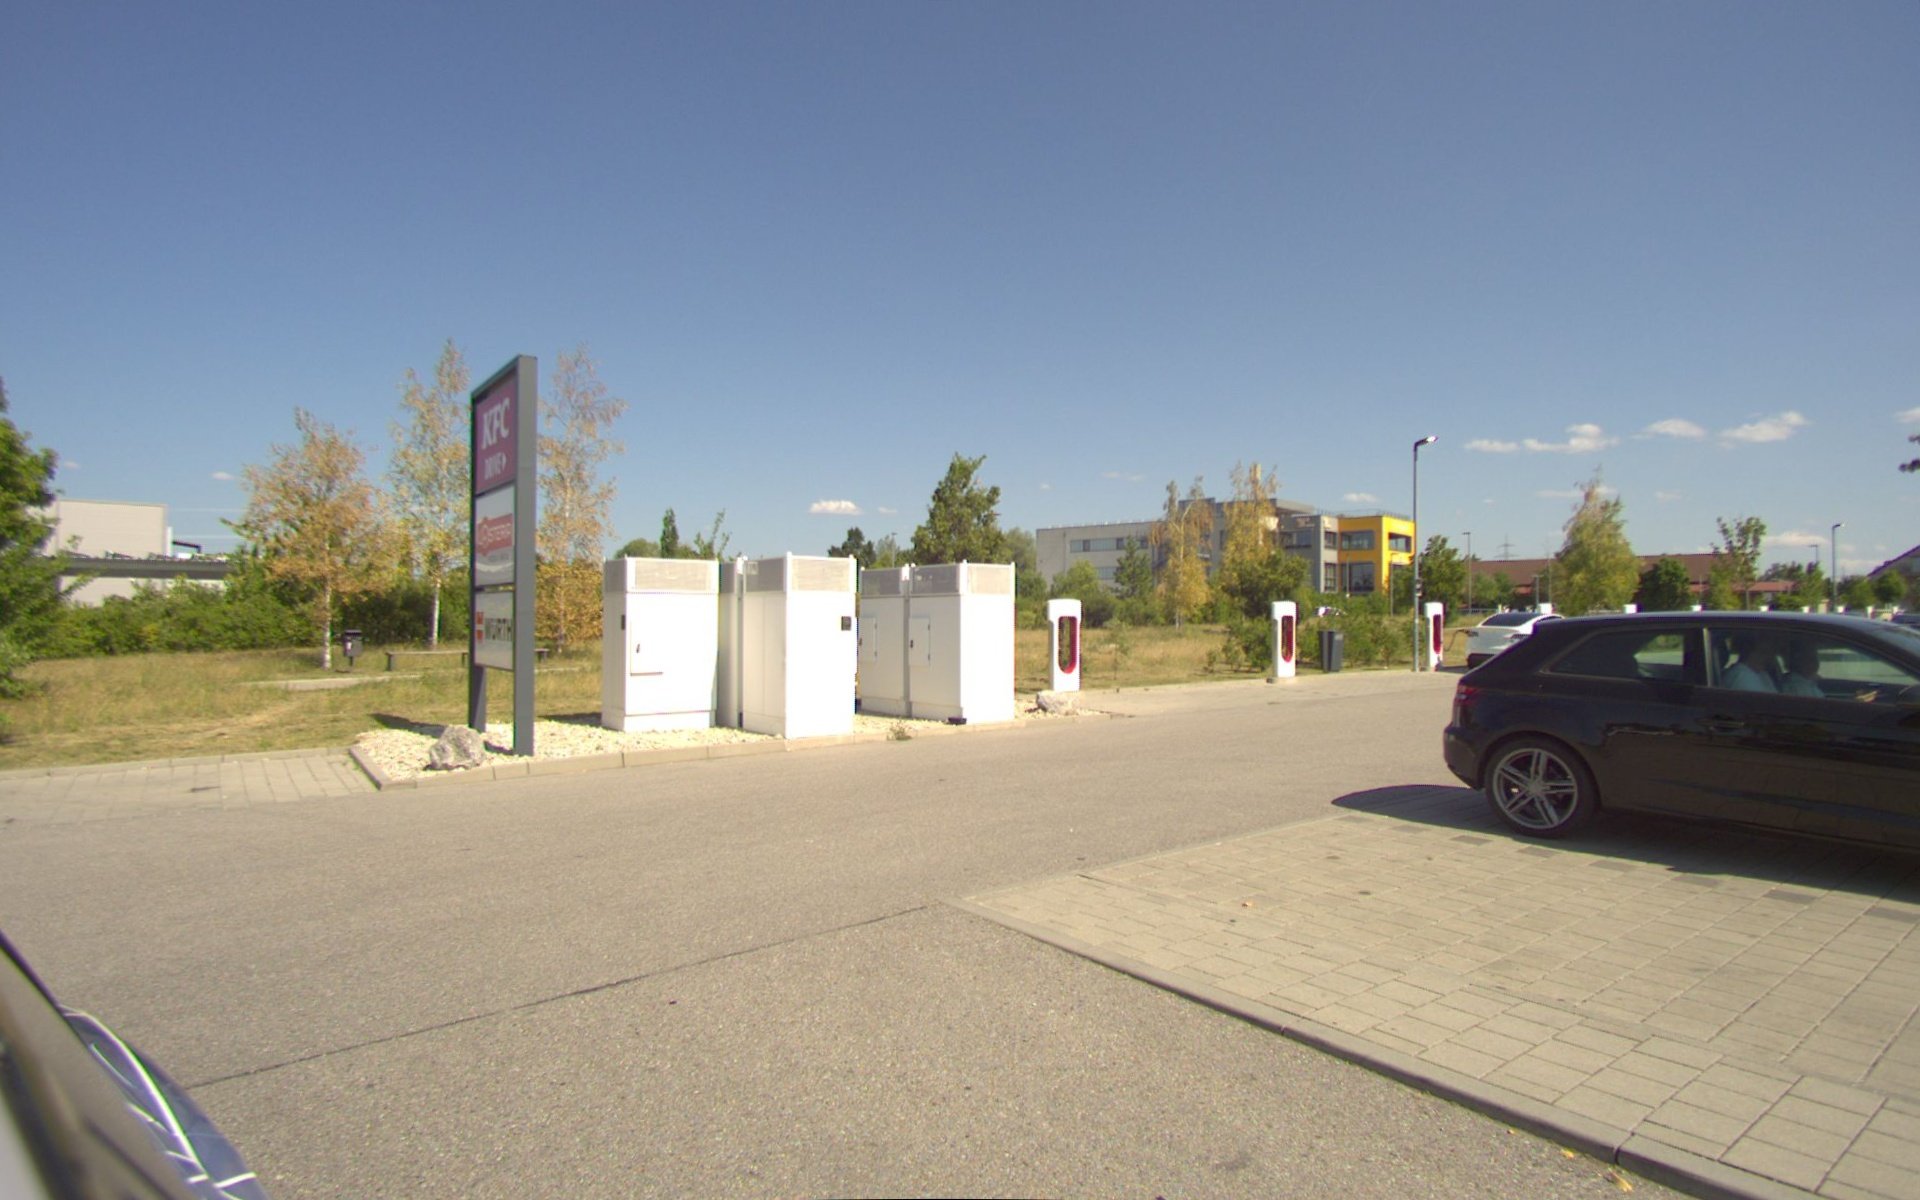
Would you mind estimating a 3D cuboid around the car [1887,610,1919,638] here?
[{"bbox_3d":[54.143,1.318,57.340,3.936,1.519,1.816,0,0,-38],"label":"car"}]

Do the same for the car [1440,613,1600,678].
[{"bbox_3d":[15.008,1.156,27.056,4.361,1.538,2.222,0,0,-38],"label":"car"}]

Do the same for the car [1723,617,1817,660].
[{"bbox_3d":[31.813,1.462,39.722,3.936,1.519,2.074,0,0,-38],"label":"car"}]

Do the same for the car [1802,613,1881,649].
[{"bbox_3d":[40.822,1.403,46.857,3.936,1.519,2.074,0,0,-38],"label":"car"}]

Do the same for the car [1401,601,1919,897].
[{"bbox_3d":[5.013,0.724,5.718,1.702,1.422,4.323,0,-1,-38],"label":"car"}]
